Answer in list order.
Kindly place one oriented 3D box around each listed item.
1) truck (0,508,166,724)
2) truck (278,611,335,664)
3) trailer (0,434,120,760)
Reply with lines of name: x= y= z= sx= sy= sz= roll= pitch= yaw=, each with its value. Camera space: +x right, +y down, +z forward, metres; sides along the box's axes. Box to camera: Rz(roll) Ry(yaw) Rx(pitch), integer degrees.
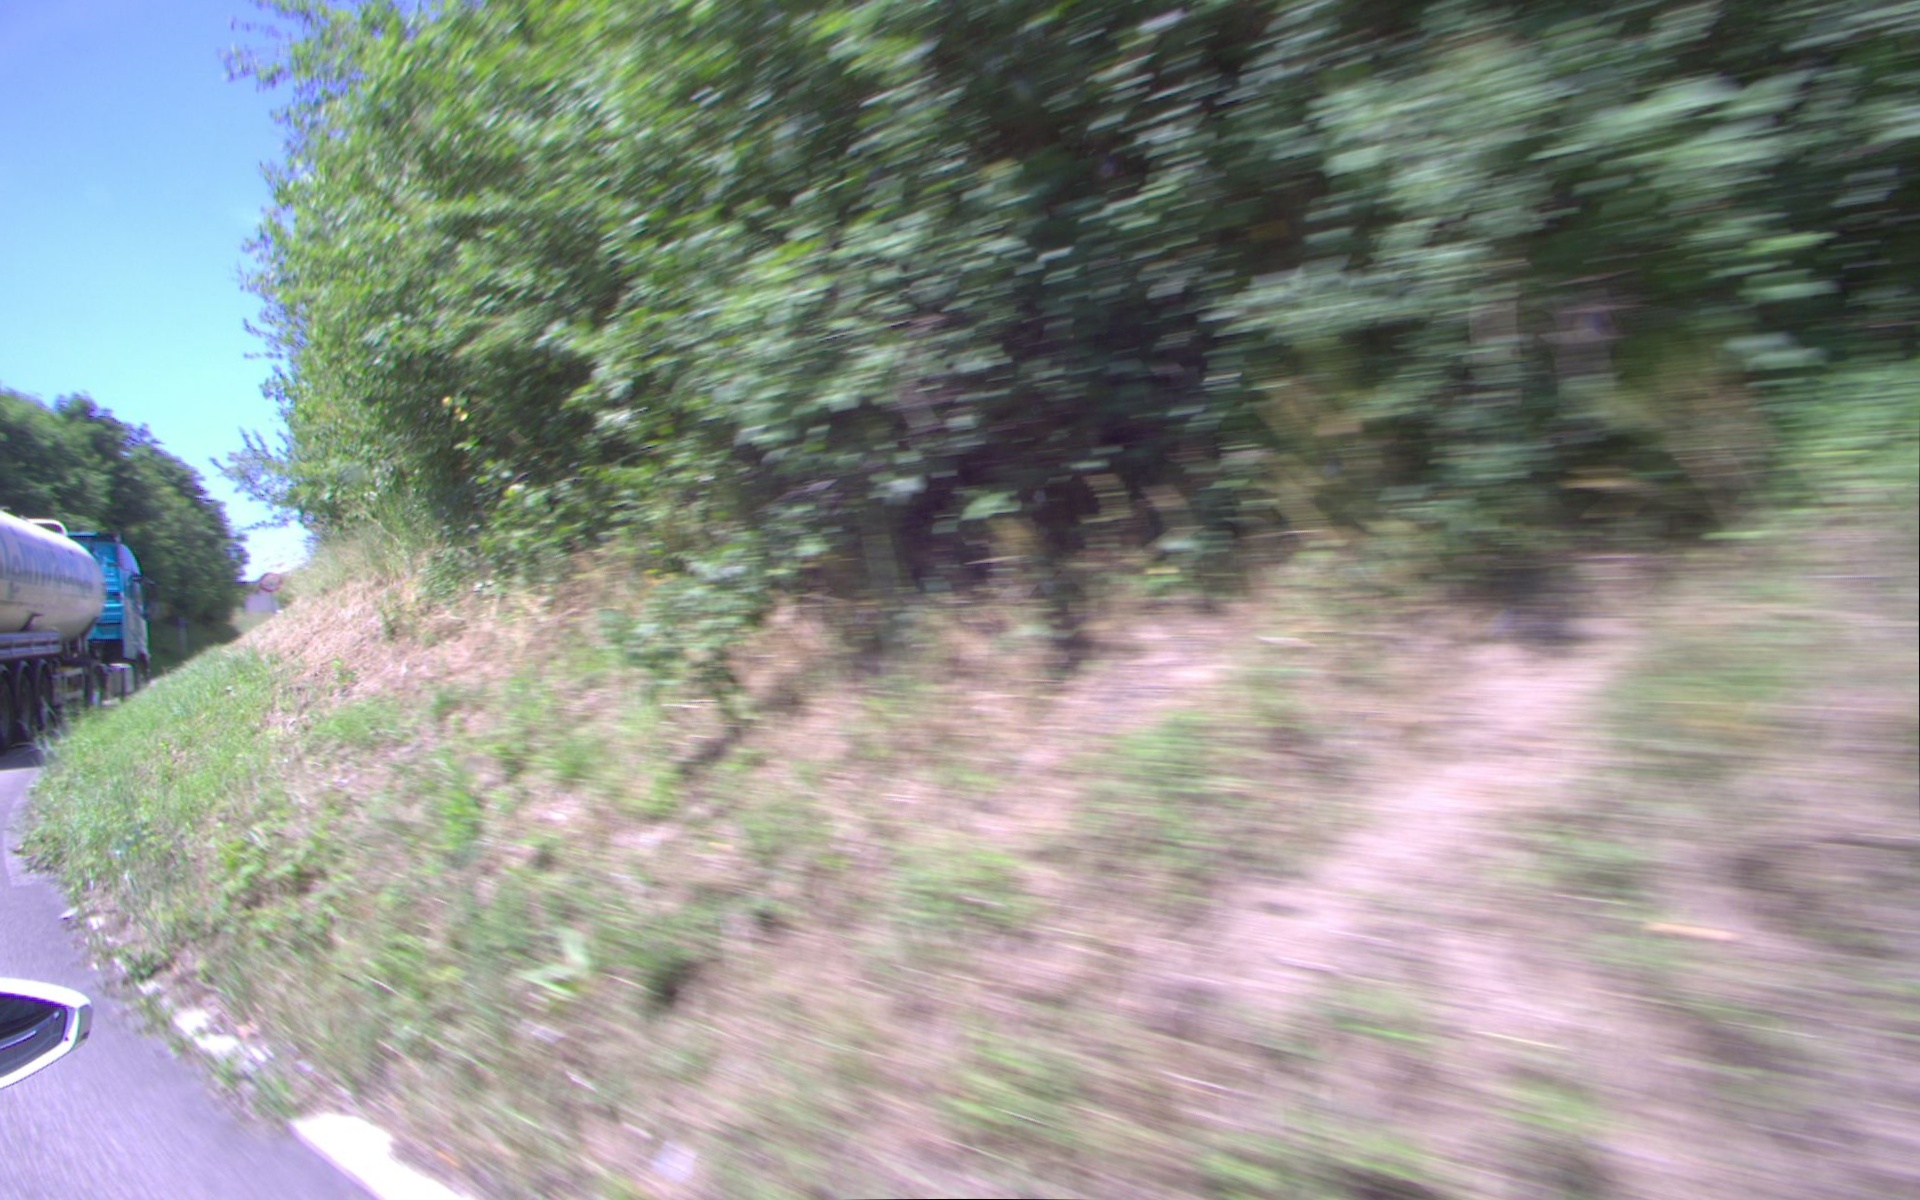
truck: x=-19.466 y=0.430 z=21.595 sx=2.697 sy=3.980 sz=7.225 roll=-1 pitch=-1 yaw=-31
truck: x=-42.912 y=2.455 z=65.894 sx=2.596 sy=3.211 sz=7.034 roll=-2 pitch=-1 yaw=-30
trailer: x=-15.640 y=0.059 z=15.454 sx=2.634 sy=4.243 sz=11.832 roll=-2 pitch=-1 yaw=-33
